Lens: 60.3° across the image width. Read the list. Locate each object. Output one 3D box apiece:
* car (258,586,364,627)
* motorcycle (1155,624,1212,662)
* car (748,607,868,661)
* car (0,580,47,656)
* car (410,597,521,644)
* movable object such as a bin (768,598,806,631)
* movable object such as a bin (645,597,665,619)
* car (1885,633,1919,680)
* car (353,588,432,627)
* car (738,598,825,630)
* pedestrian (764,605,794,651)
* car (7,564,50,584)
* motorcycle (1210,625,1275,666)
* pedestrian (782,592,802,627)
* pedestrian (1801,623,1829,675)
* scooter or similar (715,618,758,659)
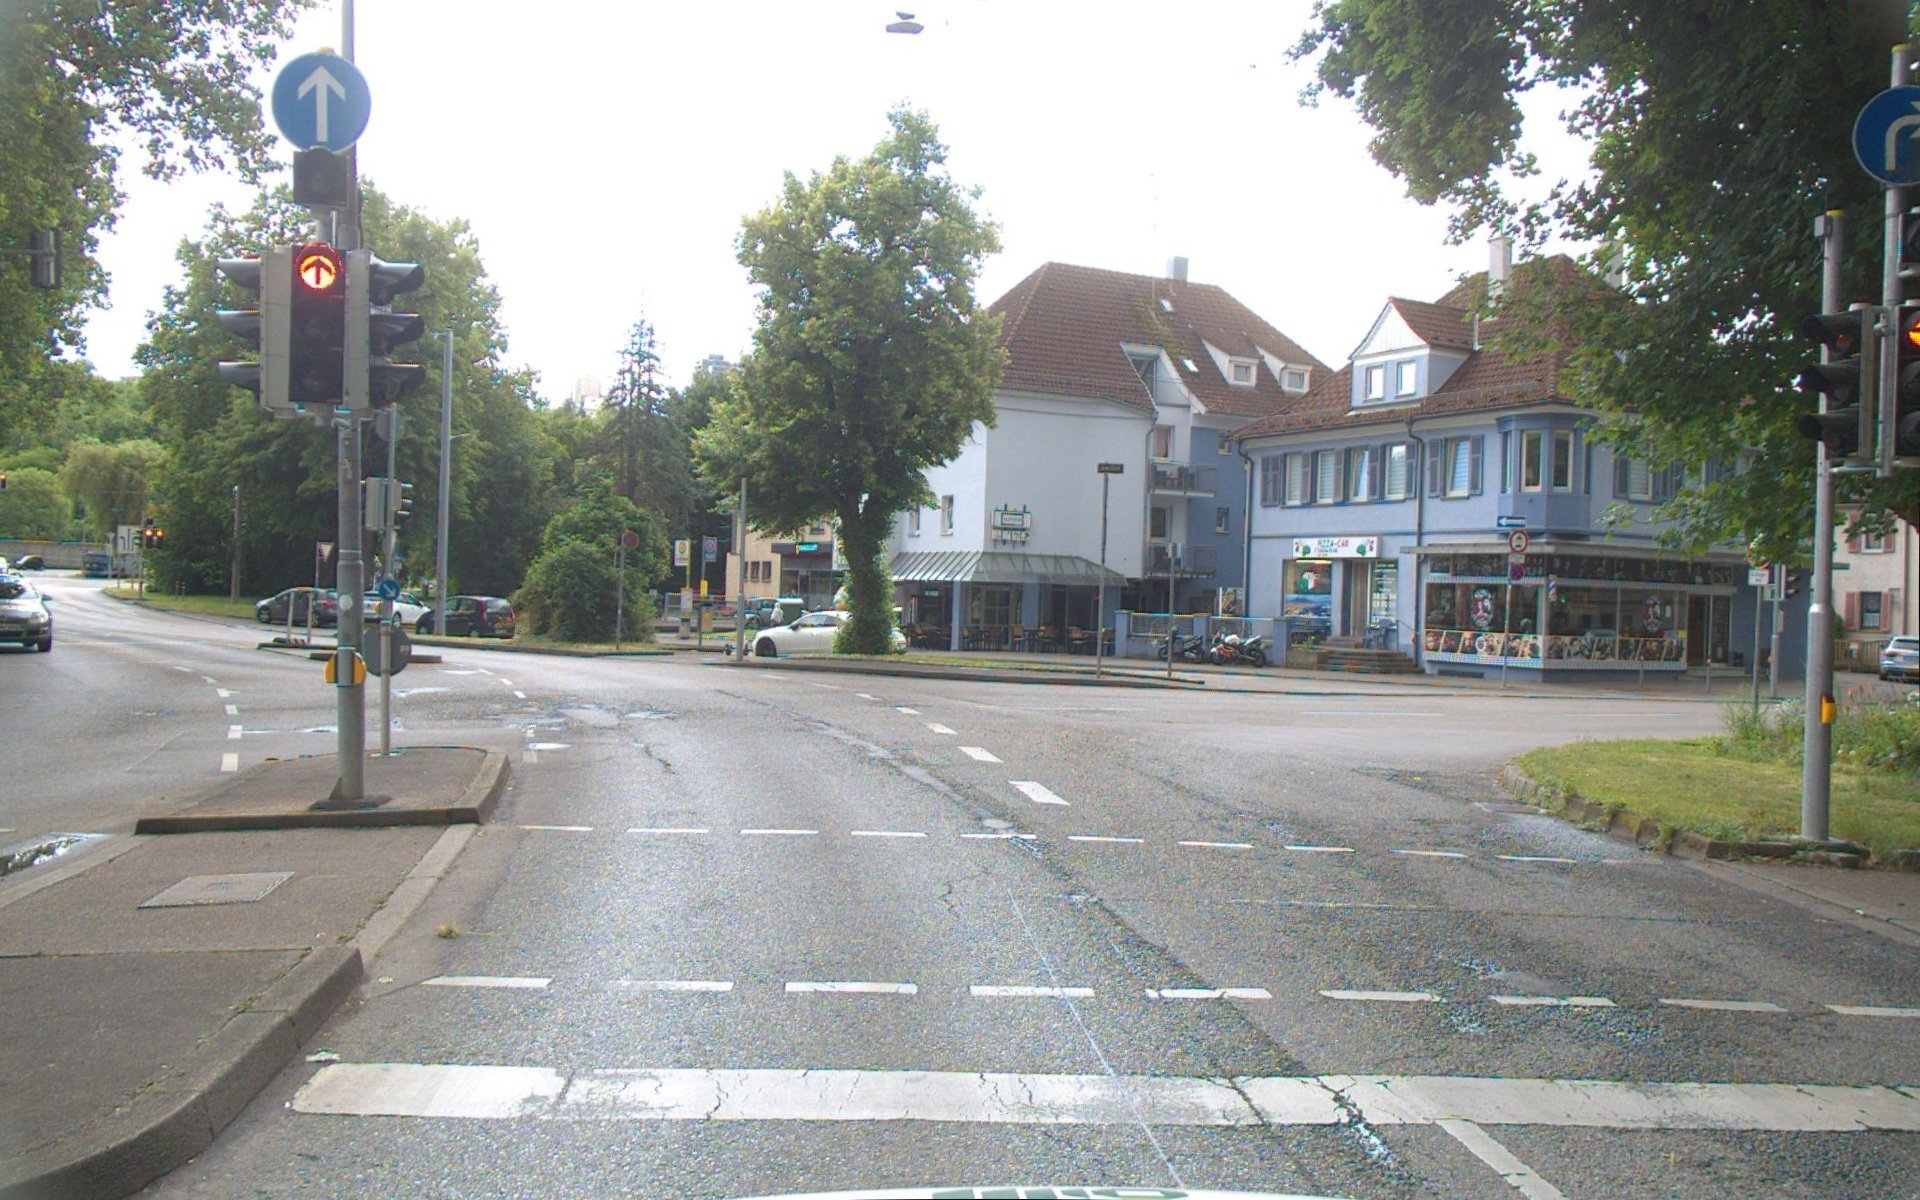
[{"bbox_3d":[-24.858,0.247,63.395,3.469,1.490,1.586,1,0,12],"label":"car"},{"bbox_3d":[6.793,1.297,50.237,1.609,1.082,0.690,1,0,44],"label":"motorcycle"},{"bbox_3d":[-4.244,0.920,45.959,3.110,1.378,1.435,1,0,34],"label":"car"},{"bbox_3d":[-18.988,0.340,32.339,1.420,1.441,2.828,1,0,-41],"label":"car"},{"bbox_3d":[-16.006,0.662,53.463,3.519,1.418,1.468,1,0,32],"label":"car"},{"bbox_3d":[-7.717,0.661,73.842,1.424,1.433,0.959,1,0,-27],"label":"movable object such as a bin"},{"bbox_3d":[-15.851,0.398,85.915,0.937,1.135,0.381,1,0,-22],"label":"movable object such as a bin"},{"bbox_3d":[29.852,1.743,51.413,1.471,1.393,3.164,1,0,38],"label":"car"},{"bbox_3d":[-22.668,0.309,66.185,1.512,1.490,3.398,1,0,10],"label":"car"},{"bbox_3d":[-8.157,0.645,75.733,3.690,1.368,1.421,1,0,-27],"label":"car"},{"bbox_3d":[-6.373,0.983,58.162,0.754,1.572,0.675,1,-1,38],"label":"pedestrian"},{"bbox_3d":[-102.212,-2.827,181.494,3.948,2.049,1.978,1,0,-32],"label":"car"},{"bbox_3d":[8.273,1.314,48.481,1.765,1.141,0.692,1,0,38],"label":"motorcycle"},{"bbox_3d":[-7.591,0.414,74.816,0.696,1.572,0.674,1,0,-23],"label":"pedestrian"},{"bbox_3d":[25.757,1.470,49.838,0.576,1.544,0.457,1,-1,-16],"label":"pedestrian"},{"bbox_3d":[-5.730,0.985,42.542,0.408,1.029,1.567,1,0,20],"label":"scooter or similar"}]
